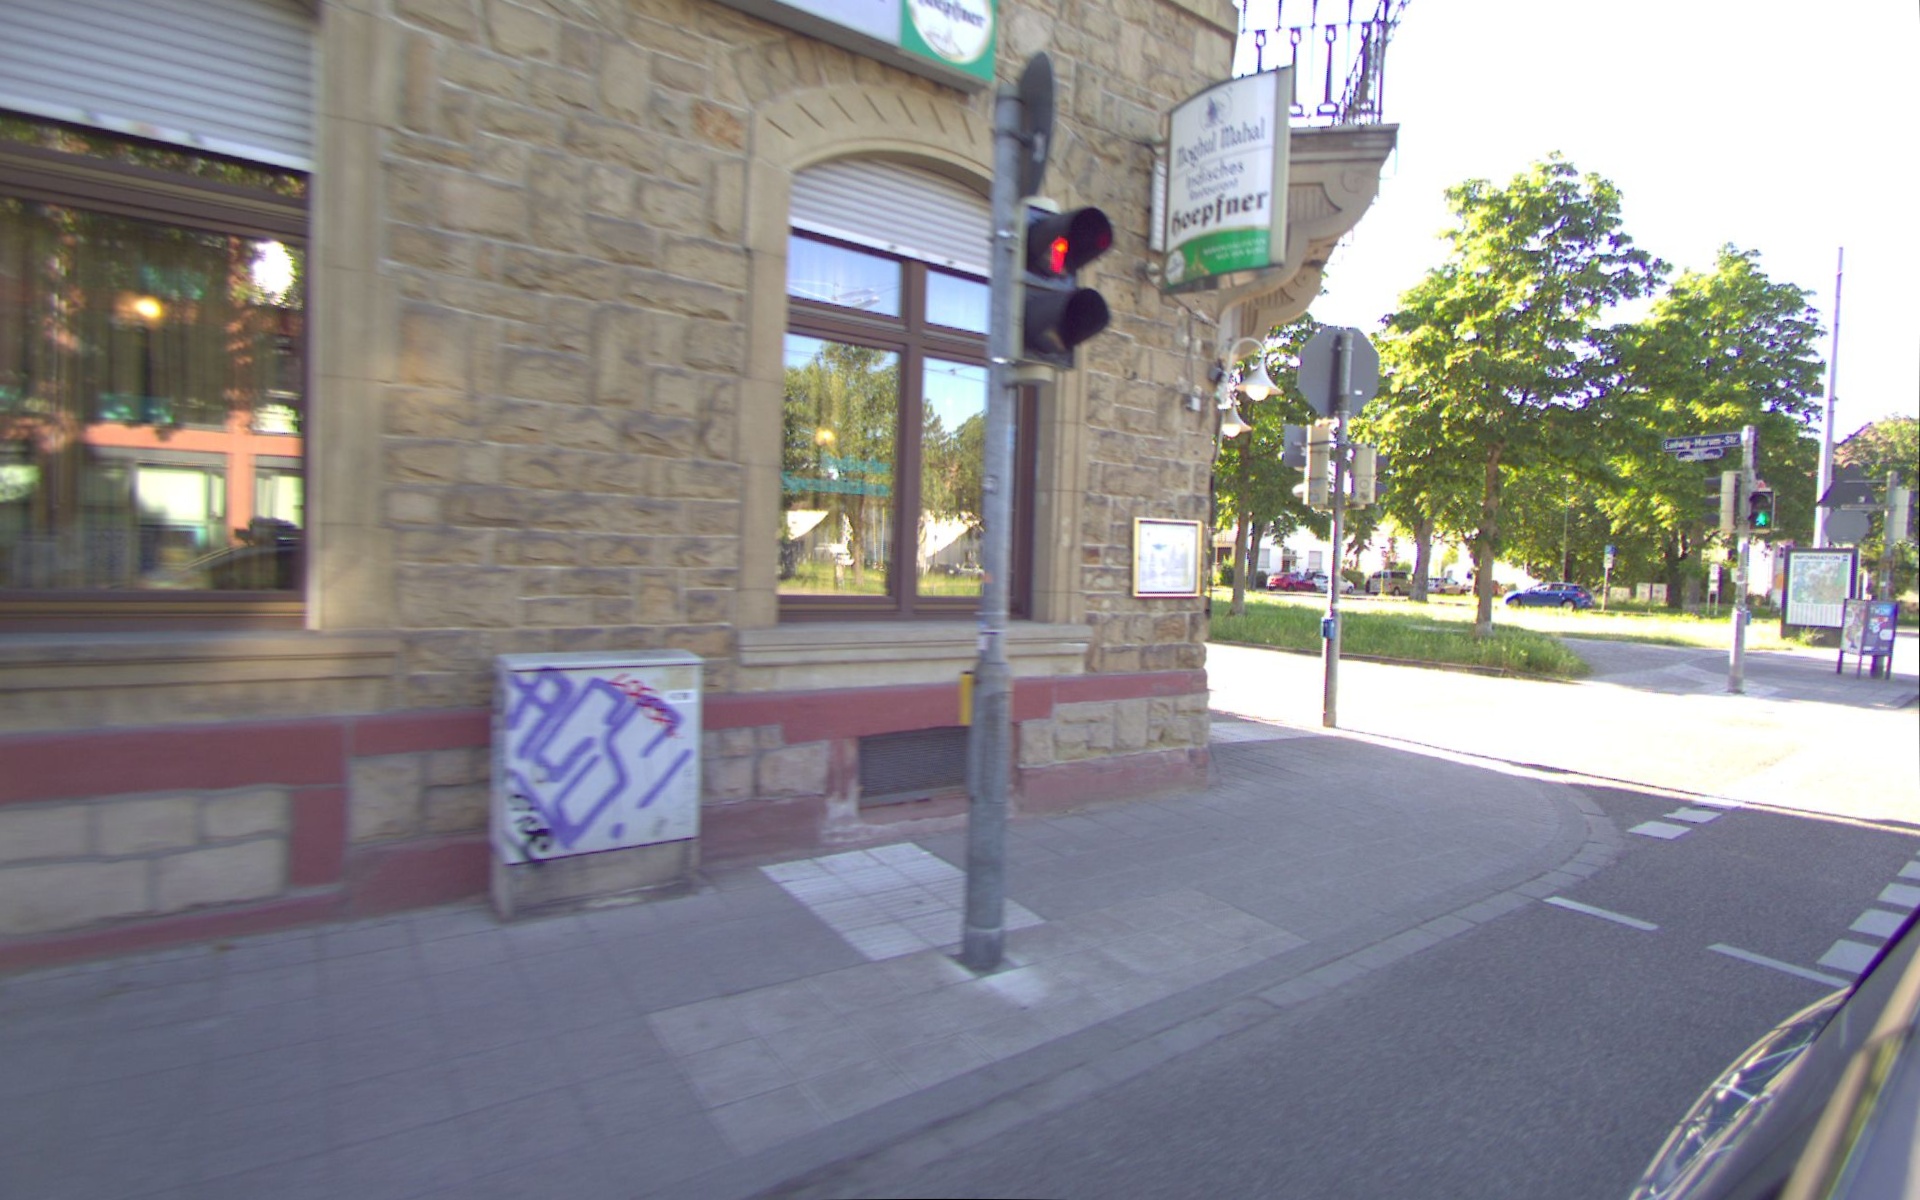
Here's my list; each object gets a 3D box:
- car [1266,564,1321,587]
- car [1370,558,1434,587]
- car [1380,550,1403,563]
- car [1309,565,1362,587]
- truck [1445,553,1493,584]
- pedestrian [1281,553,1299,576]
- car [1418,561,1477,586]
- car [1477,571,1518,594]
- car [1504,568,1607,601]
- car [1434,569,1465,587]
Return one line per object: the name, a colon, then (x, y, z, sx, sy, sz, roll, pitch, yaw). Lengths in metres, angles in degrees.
car: (24.359, -1.777, 73.872, 3.820, 1.489, 1.761, 1, 3, -33)
car: (30.618, -1.869, 70.105, 4.255, 1.858, 1.926, 1, 2, -31)
car: (53.692, -5.407, 125.958, 1.732, 1.489, 3.885, 2, 2, 11)
car: (28.517, -1.829, 76.822, 3.820, 1.489, 1.761, 1, 3, -33)
truck: (44.478, -2.785, 88.542, 1.965, 2.607, 4.975, 2, 2, 5)
pedestrian: (25.951, -2.771, 79.635, 0.882, 1.791, 1.025, 1, 0, -34)
car: (35.158, -1.938, 72.955, 3.636, 1.668, 1.927, 1, 2, -26)
car: (40.712, -1.283, 76.609, 1.602, 1.554, 4.215, 4, 2, 43)
car: (29.656, -0.795, 50.460, 1.782, 1.451, 4.000, 1, 2, -36)
car: (45.191, -2.060, 93.487, 1.734, 1.489, 3.880, 3, 2, 14)
